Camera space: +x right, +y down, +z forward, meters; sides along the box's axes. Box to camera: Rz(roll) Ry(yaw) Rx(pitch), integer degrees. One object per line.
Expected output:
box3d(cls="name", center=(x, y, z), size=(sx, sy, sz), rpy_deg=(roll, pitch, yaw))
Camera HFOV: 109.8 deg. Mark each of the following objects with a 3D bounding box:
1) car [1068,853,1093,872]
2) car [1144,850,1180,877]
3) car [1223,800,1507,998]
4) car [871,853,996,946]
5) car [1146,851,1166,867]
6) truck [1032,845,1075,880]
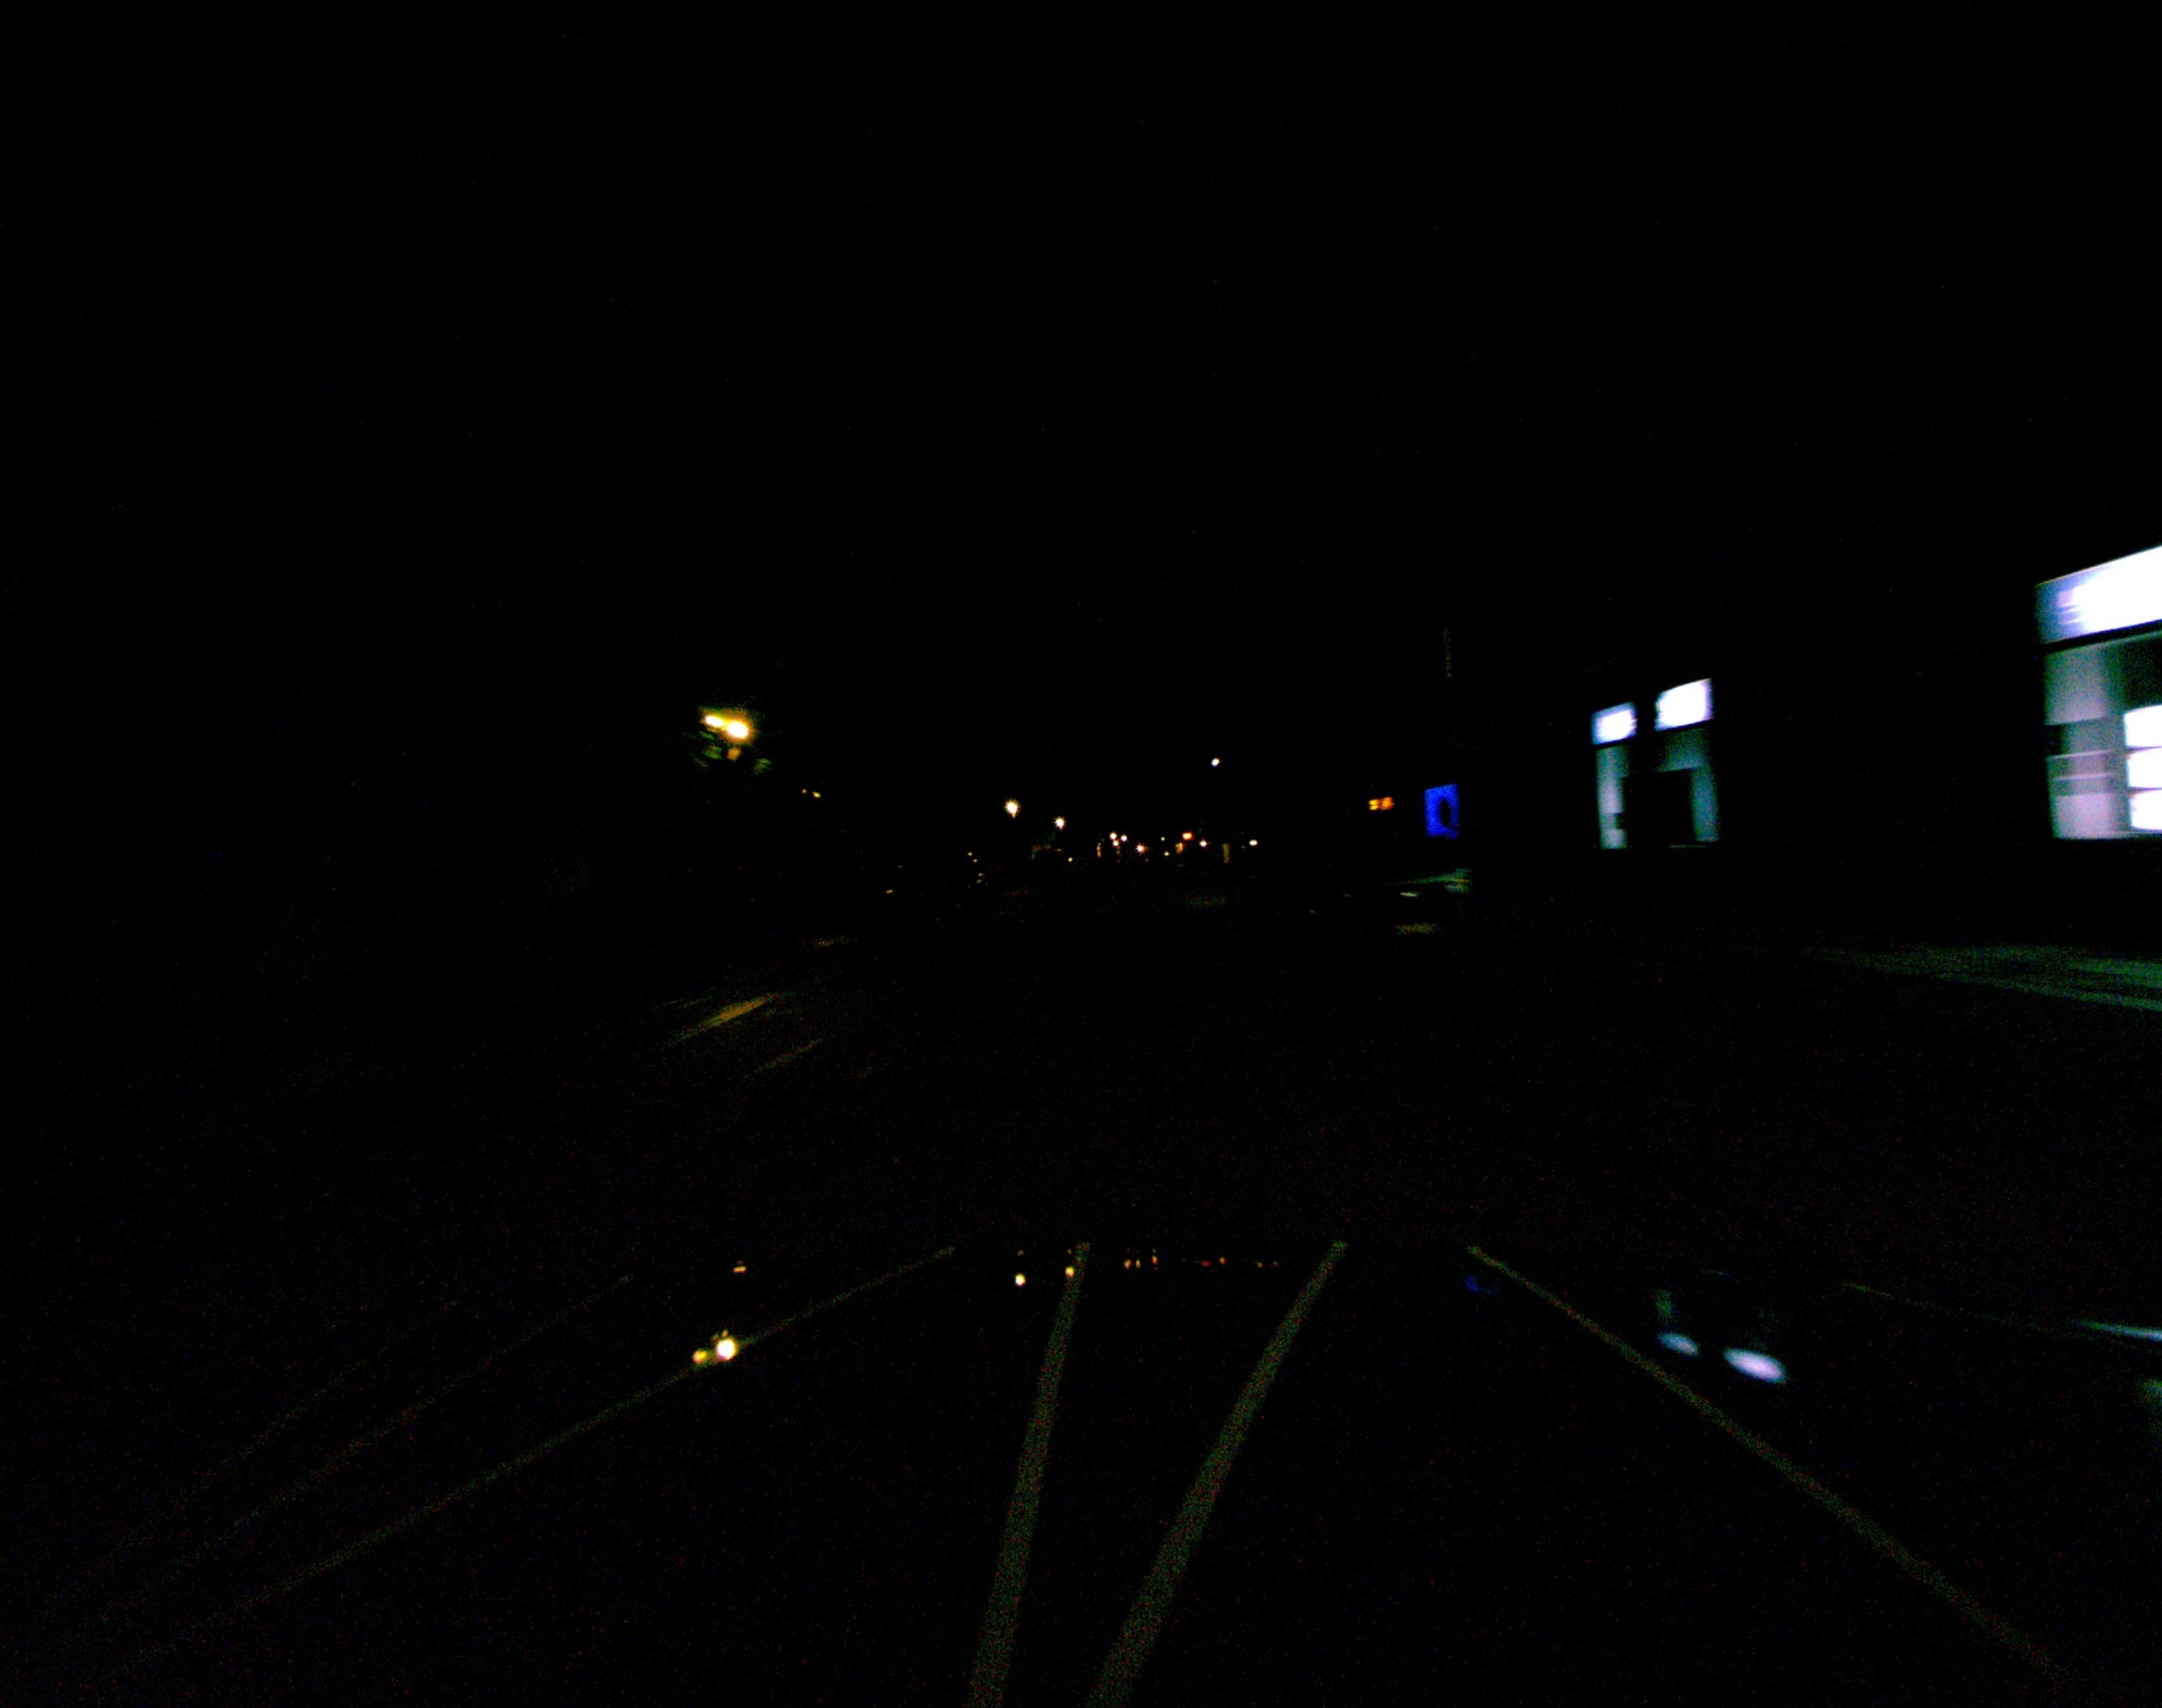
box3d(cls="car", center=(0.016, 0.762, 68.011), size=(1.737, 1.492, 4.001), rpy_deg=(-3, 0, 6))
box3d(cls="car", center=(5.092, 0.565, 48.403), size=(1.795, 1.496, 4.000), rpy_deg=(-5, 0, 1))
box3d(cls="car", center=(3.520, 0.485, 10.685), size=(1.930, 1.953, 5.076), rpy_deg=(-5, 0, 0))
box3d(cls="car", center=(-3.276, 0.925, 17.965), size=(1.912, 1.792, 4.936), rpy_deg=(-3, 0, 0))
box3d(cls="car", center=(7.579, 0.493, 76.711), size=(1.836, 1.458, 4.001), rpy_deg=(-3, 0, 6))
box3d(cls="truck", center=(-1.822, 0.539, 53.586), size=(2.109, 2.230, 6.289), rpy_deg=(-3, 0, 5))
